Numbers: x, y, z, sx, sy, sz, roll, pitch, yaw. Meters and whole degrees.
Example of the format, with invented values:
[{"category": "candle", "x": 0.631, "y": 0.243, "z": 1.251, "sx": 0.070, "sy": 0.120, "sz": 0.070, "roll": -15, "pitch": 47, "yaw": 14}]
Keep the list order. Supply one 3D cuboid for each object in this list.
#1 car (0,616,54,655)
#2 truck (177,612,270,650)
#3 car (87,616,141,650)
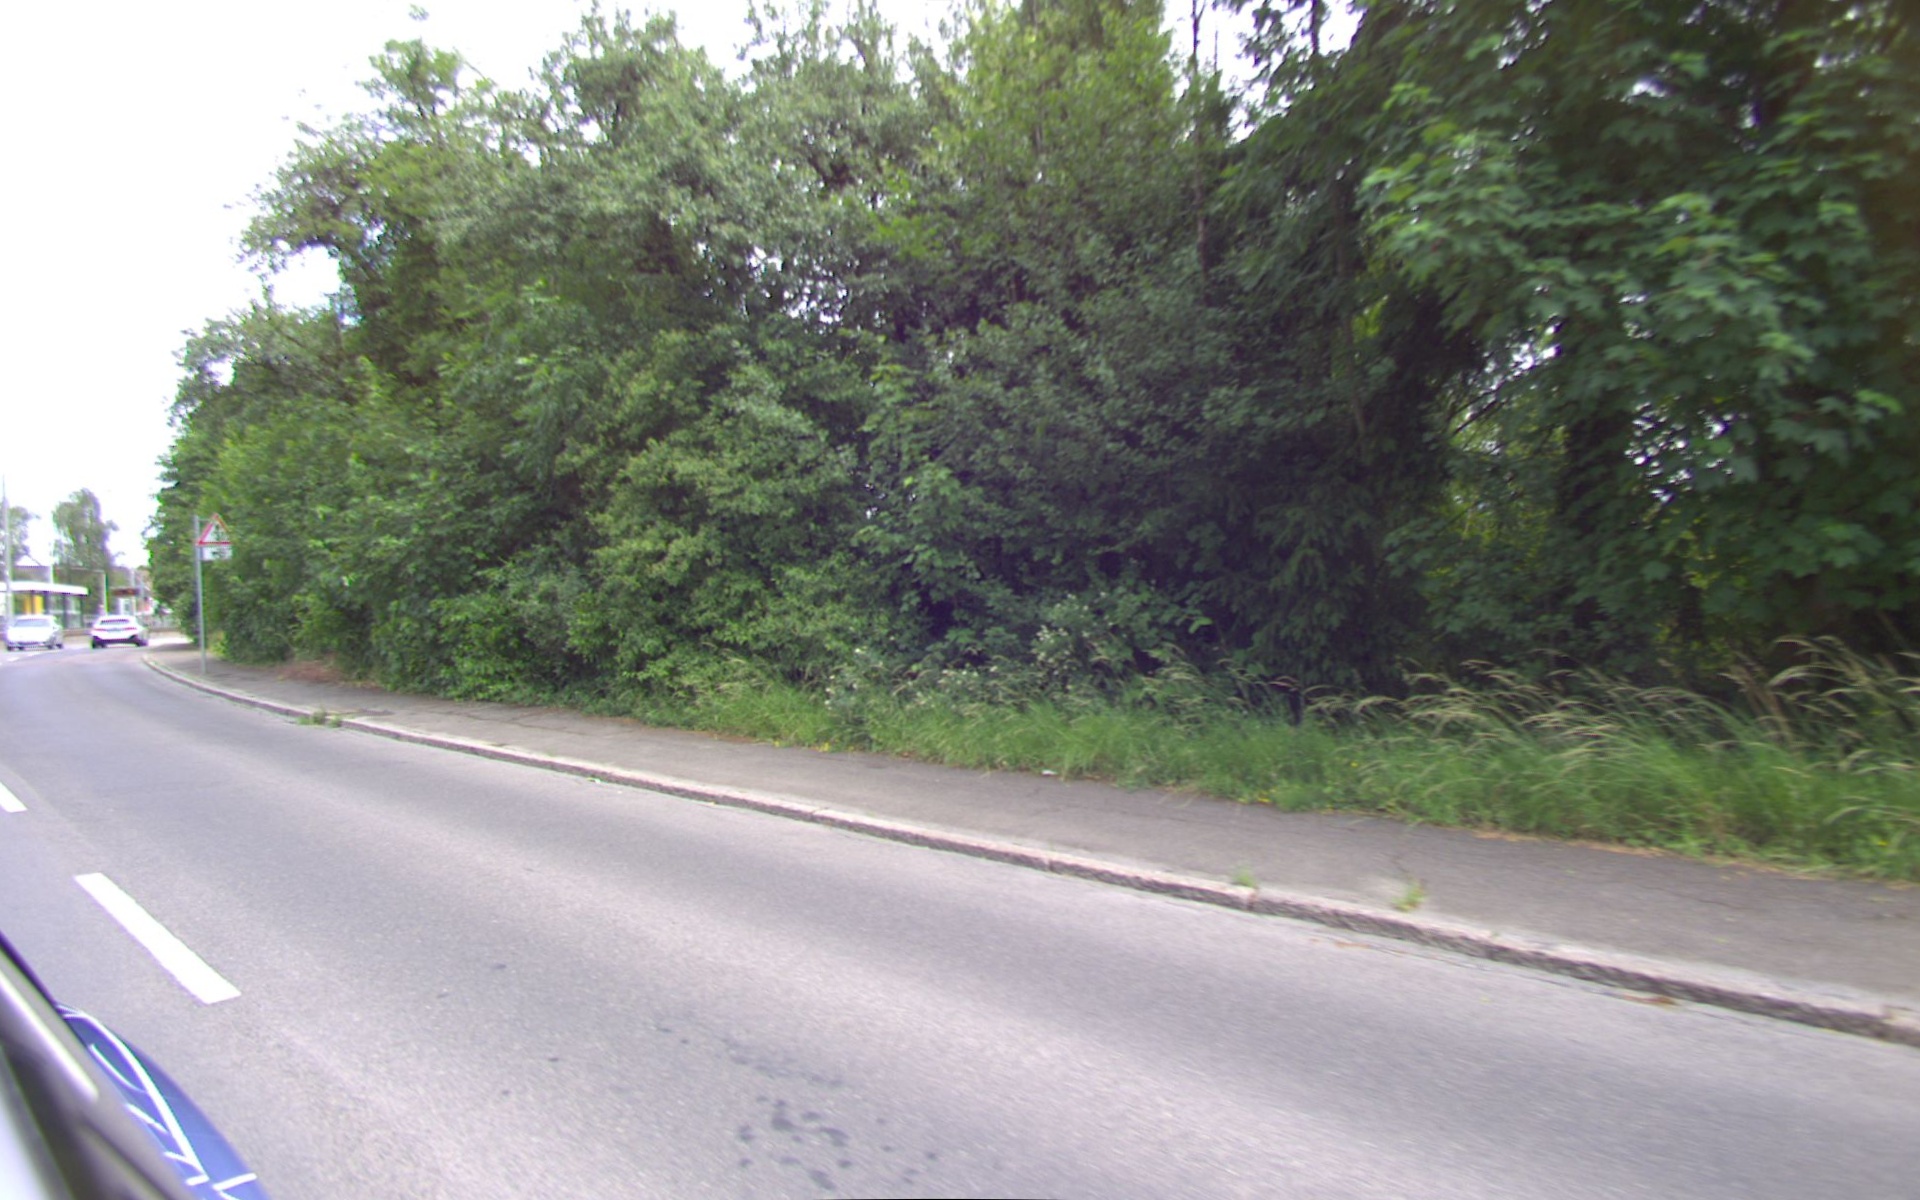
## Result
[{"category": "car", "x": -43.627, "y": 1.669, "z": 47.228, "sx": 1.707, "sy": 1.661, "sz": 4.234, "roll": -3, "pitch": 0, "yaw": -39}, {"category": "truck", "x": -43.561, "y": 1.782, "z": 59.975, "sx": 1.828, "sy": 1.981, "sz": 4.957, "roll": -2, "pitch": 0, "yaw": 1}, {"category": "car", "x": -40.838, "y": 1.553, "z": 48.901, "sx": 1.905, "sy": 1.533, "sz": 4.667, "roll": 1, "pitch": -1, "yaw": -40}]
